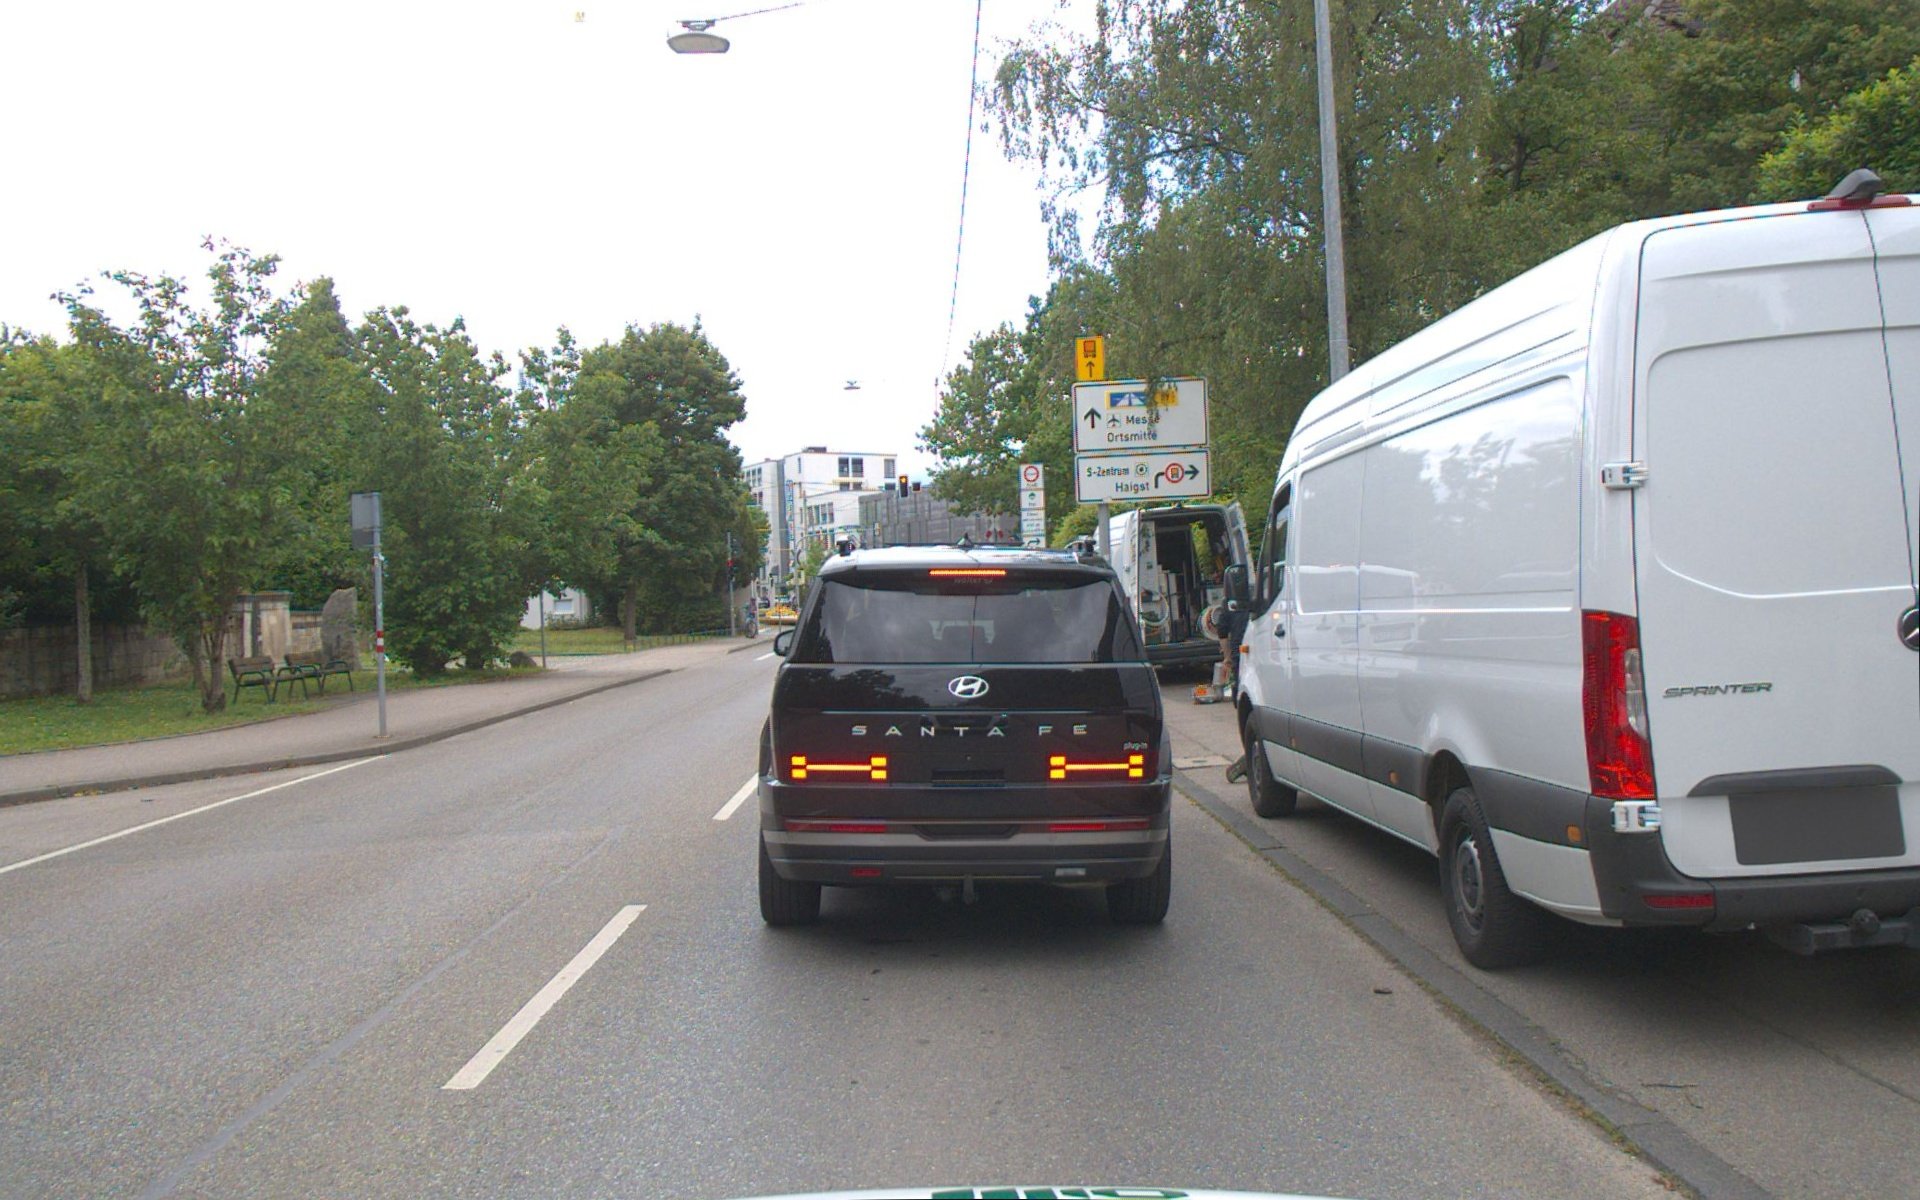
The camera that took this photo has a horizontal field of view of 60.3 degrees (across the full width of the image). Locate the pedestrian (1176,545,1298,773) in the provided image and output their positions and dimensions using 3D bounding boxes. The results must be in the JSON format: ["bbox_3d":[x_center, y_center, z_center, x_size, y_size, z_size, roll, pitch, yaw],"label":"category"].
[{"bbox_3d":[2.252,0.472,13.488,0.611,1.773,0.599,-5,0,-31],"label":"pedestrian"}]

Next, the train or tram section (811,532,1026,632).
[{"bbox_3d":[-2.707,-0.706,88.927,3.159,4.602,18.493,0,-2,-30],"label":"train or tram section"}]

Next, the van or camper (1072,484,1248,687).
[{"bbox_3d":[3.118,-0.222,26.927,1.924,2.845,5.285,-4,0,-2],"label":"van or camper"}]

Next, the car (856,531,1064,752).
[{"bbox_3d":[-0.052,0.381,17.475,1.924,2.036,3.999,-1,0,-2],"label":"car"}]

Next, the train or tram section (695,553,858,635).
[{"bbox_3d":[-11.995,-0.176,104.995,3.159,4.602,18.493,0,-2,-30],"label":"train or tram section"}]

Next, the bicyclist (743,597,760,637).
[{"bbox_3d":[-8.831,0.725,69.887,0.663,1.688,0.856,0,-2,-10],"label":"bicyclist"}]

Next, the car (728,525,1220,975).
[{"bbox_3d":[0.006,0.581,8.533,1.924,1.741,3.999,-1,0,-2],"label":"car"}]

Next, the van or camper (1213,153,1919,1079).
[{"bbox_3d":[2.855,-0.006,8.095,1.924,2.673,6.356,-4,0,-2],"label":"van or camper"}]

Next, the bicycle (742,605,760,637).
[{"bbox_3d":[-8.828,0.909,69.852,0.663,1.302,2.495,0,-2,-10],"label":"bicycle"}]
